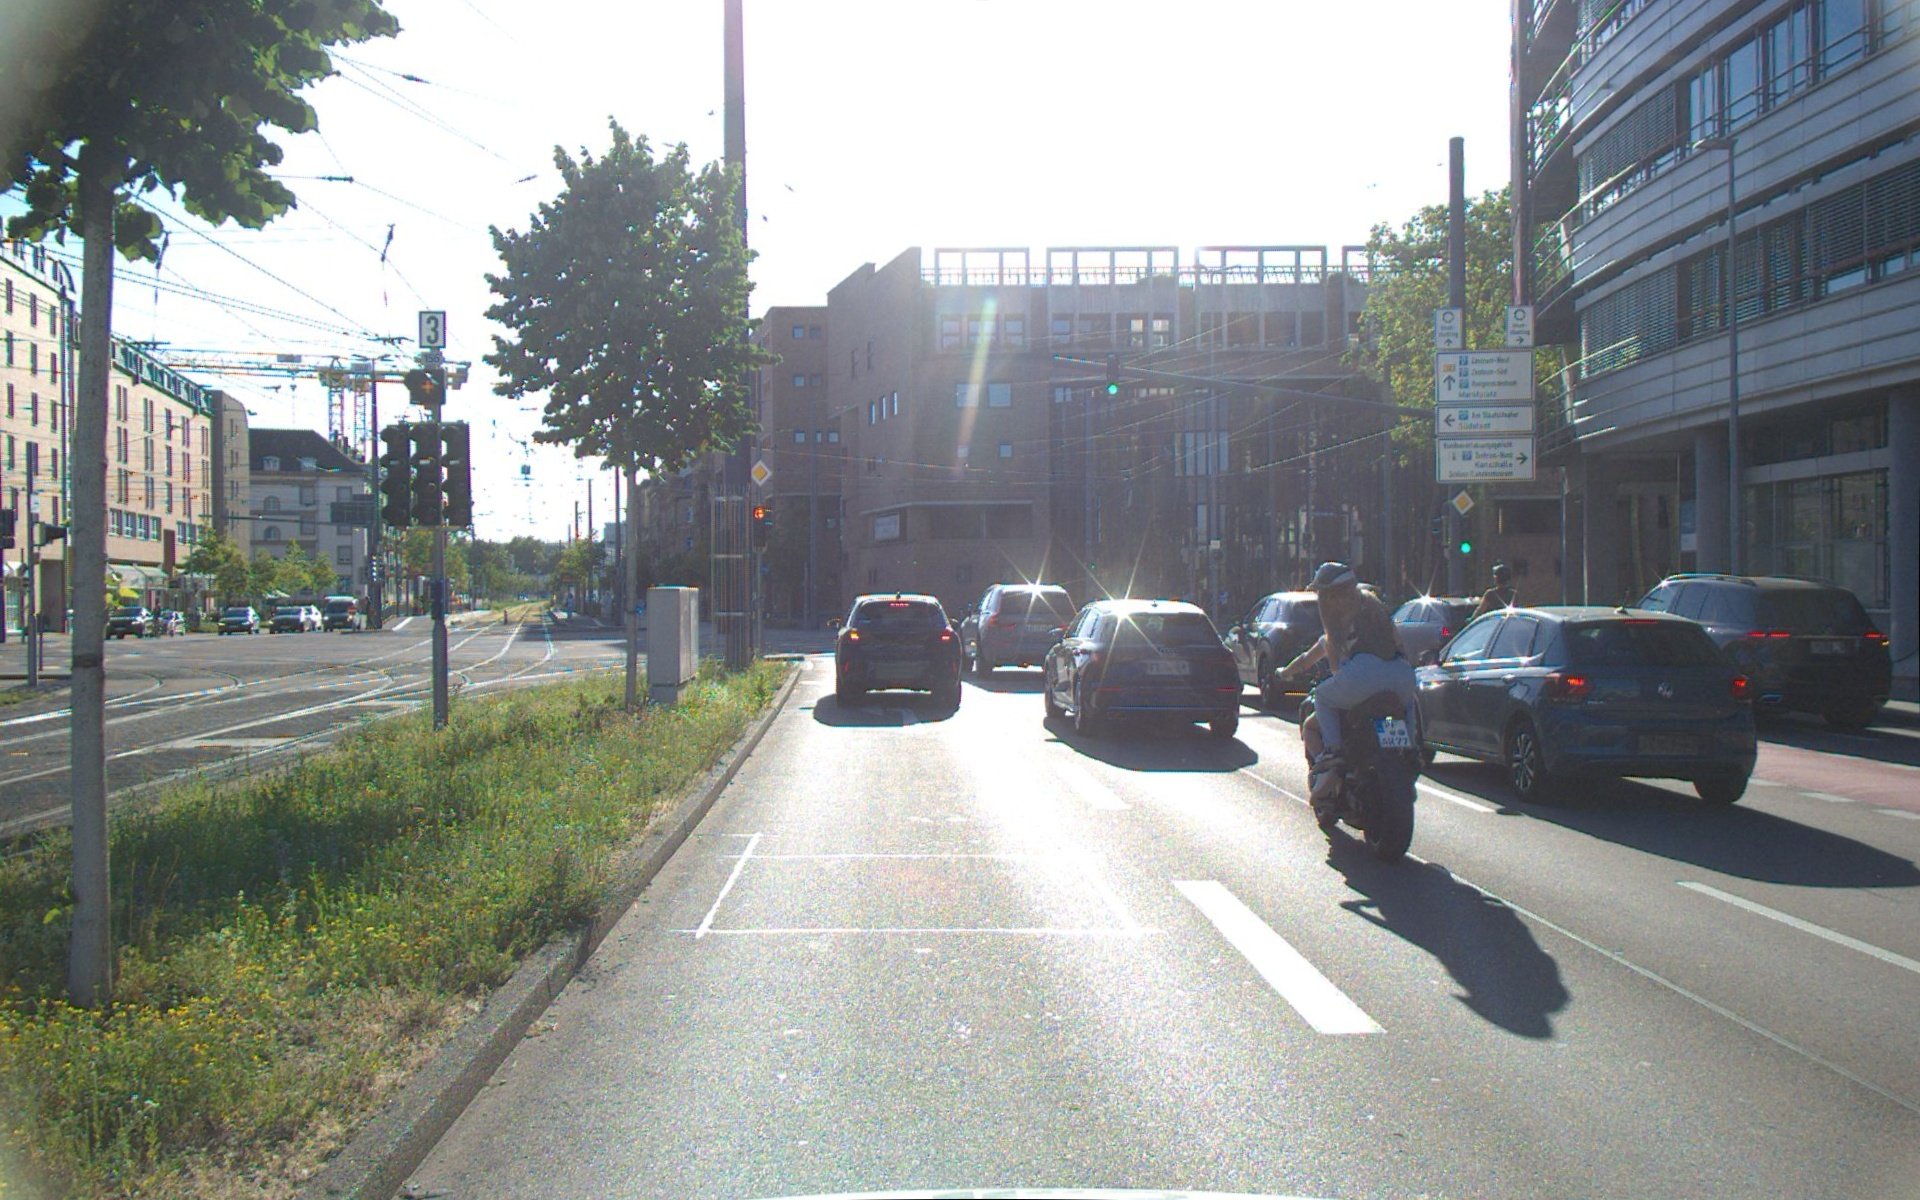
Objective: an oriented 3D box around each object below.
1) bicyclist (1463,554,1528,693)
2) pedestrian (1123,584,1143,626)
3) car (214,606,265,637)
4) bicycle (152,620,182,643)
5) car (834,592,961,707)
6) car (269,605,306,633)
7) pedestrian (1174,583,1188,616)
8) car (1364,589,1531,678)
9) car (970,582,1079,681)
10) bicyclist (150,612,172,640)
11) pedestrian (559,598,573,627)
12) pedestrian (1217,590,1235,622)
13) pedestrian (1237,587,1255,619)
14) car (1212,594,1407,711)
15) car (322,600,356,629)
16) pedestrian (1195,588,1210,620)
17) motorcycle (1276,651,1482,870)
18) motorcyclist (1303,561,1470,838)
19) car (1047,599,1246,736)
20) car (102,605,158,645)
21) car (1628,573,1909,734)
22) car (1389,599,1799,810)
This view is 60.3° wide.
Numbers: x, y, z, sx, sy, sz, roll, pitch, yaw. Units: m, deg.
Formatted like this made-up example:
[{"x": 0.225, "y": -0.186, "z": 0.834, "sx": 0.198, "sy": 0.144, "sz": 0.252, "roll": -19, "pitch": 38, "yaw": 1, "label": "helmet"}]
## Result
[{"x": 7.197, "y": 0.304, "z": 22.252, "sx": 0.565, "sy": 1.822, "sz": 0.863, "roll": -1, "pitch": 0, "yaw": -1, "label": "bicyclist"}, {"x": 7.414, "y": 0.228, "z": 70.729, "sx": 0.692, "sy": 1.789, "sz": 0.560, "roll": -1, "pitch": 0, "yaw": 22, "label": "pedestrian"}, {"x": -40.539, "y": 1.192, "z": 93.129, "sx": 1.961, "sy": 1.624, "sz": 4.718, "roll": -1, "pitch": 0, "yaw": -16, "label": "car"}, {"x": -41.154, "y": 1.627, "z": 85.887, "sx": 0.638, "sy": 1.104, "sz": 2.919, "roll": -1, "pitch": 0, "yaw": -11, "label": "bicycle"}, {"x": -0.857, "y": 0.624, "z": 23.221, "sx": 1.616, "sy": 1.458, "sz": 3.998, "roll": -1, "pitch": 0, "yaw": -2, "label": "car"}, {"x": -37.761, "y": 1.050, "z": 92.941, "sx": 1.719, "sy": 1.531, "sz": 3.858, "roll": -1, "pitch": 0, "yaw": -20, "label": "car"}, {"x": 9.663, "y": -0.016, "z": 72.299, "sx": 0.519, "sy": 1.455, "sz": 0.598, "roll": -1, "pitch": 0, "yaw": -3, "label": "pedestrian"}, {"x": 8.934, "y": 0.566, "z": 30.653, "sx": 1.952, "sy": 1.444, "sz": 4.001, "roll": 1, "pitch": 1, "yaw": 1, "label": "car"}, {"x": 1.106, "y": 0.530, "z": 30.178, "sx": 1.702, "sy": 1.680, "sz": 3.998, "roll": -1, "pitch": 0, "yaw": -2, "label": "car"}, {"x": -41.153, "y": 1.318, "z": 85.182, "sx": 0.744, "sy": 1.399, "sz": 0.948, "roll": -1, "pitch": 0, "yaw": -11, "label": "bicyclist"}, {"x": -23.048, "y": 0.725, "z": 96.750, "sx": 0.730, "sy": 1.669, "sz": 0.764, "roll": -1, "pitch": 0, "yaw": -16, "label": "pedestrian"}, {"x": 13.593, "y": 0.315, "z": 84.491, "sx": 0.881, "sy": 1.645, "sz": 0.561, "roll": -1, "pitch": 0, "yaw": 5, "label": "pedestrian"}, {"x": 14.800, "y": 0.172, "z": 85.668, "sx": 0.881, "sy": 1.645, "sz": 0.561, "roll": -1, "pitch": 0, "yaw": 5, "label": "pedestrian"}, {"x": 4.803, "y": 0.669, "z": 23.270, "sx": 1.771, "sy": 1.483, "sz": 3.998, "roll": 0, "pitch": 0, "yaw": -2, "label": "car"}, {"x": -34.815, "y": 0.800, "z": 92.807, "sx": 1.719, "sy": 1.531, "sz": 3.858, "roll": -1, "pitch": 0, "yaw": -20, "label": "car"}, {"x": 12.646, "y": 0.189, "z": 86.181, "sx": 0.722, "sy": 1.645, "sz": 0.561, "roll": -1, "pitch": 0, "yaw": 5, "label": "pedestrian"}, {"x": 2.524, "y": 0.926, "z": 10.201, "sx": 0.759, "sy": 1.135, "sz": 1.969, "roll": -1, "pitch": 0, "yaw": 0, "label": "motorcycle"}, {"x": 2.517, "y": 0.559, "z": 9.863, "sx": 0.729, "sy": 1.557, "sz": 1.021, "roll": -1, "pitch": 0, "yaw": 1, "label": "motorcyclist"}, {"x": 2.017, "y": 0.692, "z": 18.923, "sx": 1.702, "sy": 1.373, "sz": 3.998, "roll": -1, "pitch": 0, "yaw": -2, "label": "car"}, {"x": -45.105, "y": 1.334, "z": 89.954, "sx": 1.961, "sy": 2.049, "sz": 3.982, "roll": -1, "pitch": 0, "yaw": -16, "label": "car"}, {"x": 9.862, "y": 0.587, "z": 20.572, "sx": 1.951, "sy": 1.780, "sz": 4.333, "roll": -1, "pitch": 0, "yaw": 9, "label": "car"}, {"x": 5.050, "y": 0.748, "z": 13.803, "sx": 1.771, "sy": 1.483, "sz": 3.998, "roll": 0, "pitch": 0, "yaw": -2, "label": "car"}]
